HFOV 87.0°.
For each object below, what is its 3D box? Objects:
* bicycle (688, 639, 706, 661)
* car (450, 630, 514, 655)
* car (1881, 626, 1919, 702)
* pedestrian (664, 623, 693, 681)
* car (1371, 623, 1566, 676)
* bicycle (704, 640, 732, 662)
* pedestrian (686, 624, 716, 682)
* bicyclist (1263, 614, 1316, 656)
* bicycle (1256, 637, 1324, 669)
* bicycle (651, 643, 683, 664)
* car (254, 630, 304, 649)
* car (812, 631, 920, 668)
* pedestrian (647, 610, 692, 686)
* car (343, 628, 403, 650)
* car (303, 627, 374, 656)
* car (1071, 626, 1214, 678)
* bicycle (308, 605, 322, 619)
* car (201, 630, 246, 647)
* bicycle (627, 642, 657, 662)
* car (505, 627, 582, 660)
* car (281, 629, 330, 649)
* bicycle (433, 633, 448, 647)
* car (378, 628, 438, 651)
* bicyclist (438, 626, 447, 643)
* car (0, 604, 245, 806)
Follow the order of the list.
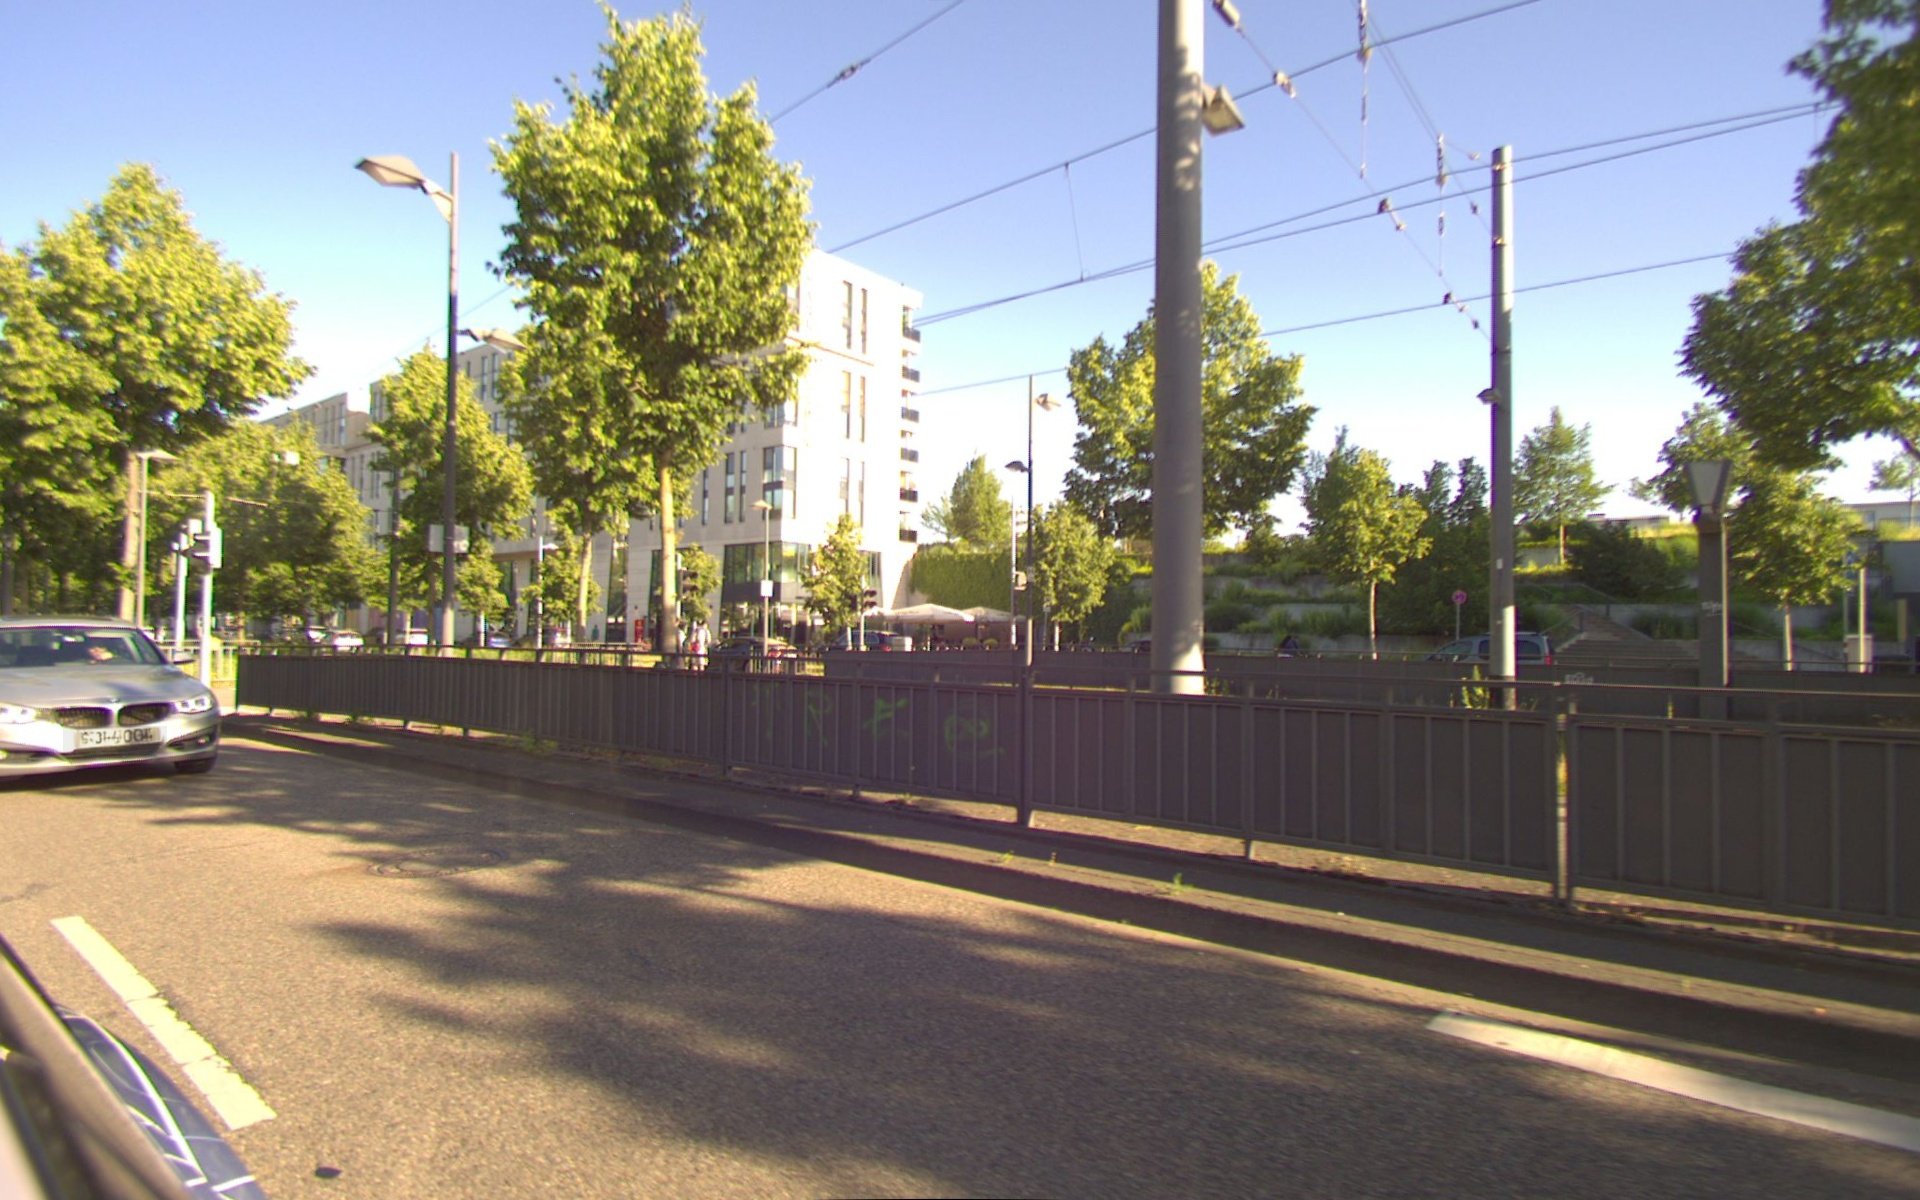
[{"bbox_3d":[-15.961,3.046,61.347,0.580,1.262,1.845,0,-1,-30],"label":"bicycle"},{"bbox_3d":[-29.811,2.633,63.109,4.260,1.452,1.939,-1,-1,39],"label":"car"},{"bbox_3d":[22.753,1.386,21.469,4.606,1.620,1.974,-1,-1,40],"label":"car"},{"bbox_3d":[-7.570,1.395,27.198,0.588,1.530,0.544,-1,-1,43],"label":"pedestrian"},{"bbox_3d":[14.190,1.328,28.371,4.606,1.335,1.893,-1,-1,40],"label":"car"},{"bbox_3d":[-14.376,3.009,60.049,1.837,1.262,0.582,-1,-1,38],"label":"bicycle"},{"bbox_3d":[-6.889,1.401,26.891,0.603,1.508,0.537,-1,-1,42],"label":"pedestrian"},{"bbox_3d":[11.261,1.184,34.620,1.658,1.416,0.484,-1,-1,38],"label":"bicyclist"},{"bbox_3d":[11.257,1.804,34.611,2.186,1.009,0.492,0,-1,38],"label":"bicycle"},{"bbox_3d":[-18.303,3.316,63.171,2.237,1.207,0.726,-1,-1,38],"label":"bicycle"},{"bbox_3d":[-56.425,3.214,83.858,4.770,1.452,1.976,-1,-1,36],"label":"car"},{"bbox_3d":[-4.003,2.040,42.618,4.606,1.445,1.860,-1,-2,40],"label":"car"},{"bbox_3d":[-7.248,1.166,25.218,0.725,1.850,0.813,-1,-1,36],"label":"pedestrian"},{"bbox_3d":[-42.540,2.813,73.337,4.927,1.452,1.976,-1,-1,36],"label":"car"},{"bbox_3d":[-34.063,2.234,55.460,3.993,1.497,1.975,-1,-1,37],"label":"car"},{"bbox_3d":[6.325,1.745,35.284,4.606,1.633,1.860,-1,-1,40],"label":"car"},{"bbox_3d":[-62.790,1.168,98.479,1.605,1.290,0.592,-1,-1,37],"label":"bicycle"},{"bbox_3d":[-68.815,3.610,94.512,4.916,1.452,1.976,-1,-1,36],"label":"car"},{"bbox_3d":[-20.409,3.339,64.902,2.237,1.207,0.726,-1,-1,38],"label":"bicycle"},{"bbox_3d":[-24.380,2.509,59.189,4.767,1.785,1.976,-1,-1,36],"label":"car"},{"bbox_3d":[-52.449,3.096,81.030,4.450,1.452,1.974,-1,-1,38],"label":"car"},{"bbox_3d":[-40.383,3.100,78.694,1.799,1.024,0.375,-1,-1,40],"label":"bicycle"},{"bbox_3d":[-38.374,2.717,70.328,4.447,1.452,1.976,-1,-1,36],"label":"car"},{"bbox_3d":[-40.053,2.673,78.380,0.718,1.313,0.364,-1,-1,39],"label":"bicyclist"},{"bbox_3d":[-8.795,0.847,9.856,4.272,1.590,1.864,-1,-1,38],"label":"car"}]
